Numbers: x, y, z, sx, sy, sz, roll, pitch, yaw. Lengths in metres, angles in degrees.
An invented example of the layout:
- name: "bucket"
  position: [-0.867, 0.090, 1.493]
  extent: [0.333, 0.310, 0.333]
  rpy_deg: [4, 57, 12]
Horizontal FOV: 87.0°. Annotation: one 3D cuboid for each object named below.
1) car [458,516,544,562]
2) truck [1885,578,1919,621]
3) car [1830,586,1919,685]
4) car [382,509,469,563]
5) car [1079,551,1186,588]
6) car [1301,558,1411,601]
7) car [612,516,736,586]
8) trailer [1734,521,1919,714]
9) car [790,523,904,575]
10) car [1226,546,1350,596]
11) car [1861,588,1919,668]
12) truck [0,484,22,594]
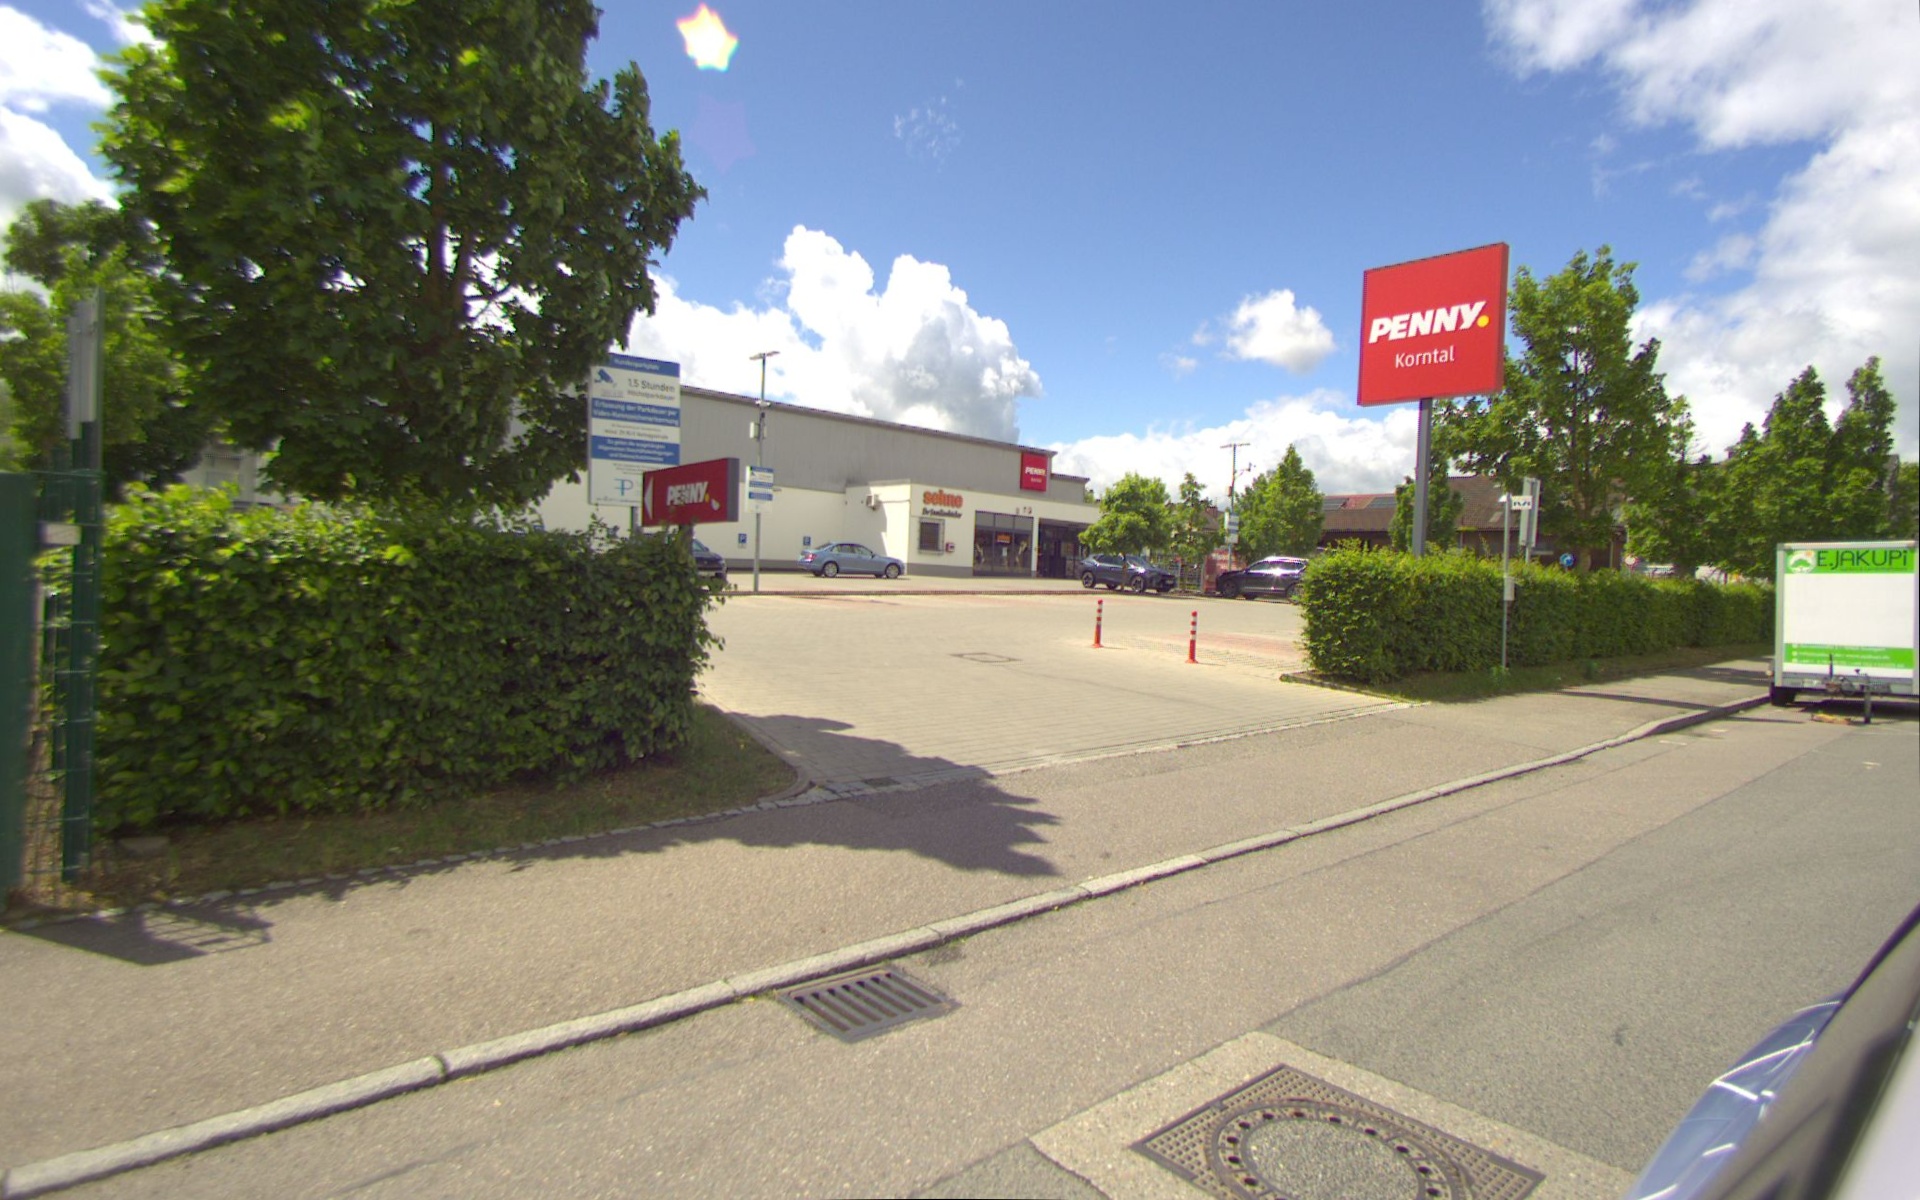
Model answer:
- name: "car"
  position: [-16.621, -2.178, 36.544]
  extent: [1.787, 1.526, 3.995]
  rpy_deg: [1, 2, -41]
- name: "truck"
  position: [51.639, 0.029, 54.671]
  extent: [5.292, 2.107, 1.833]
  rpy_deg: [2, 3, -42]
- name: "car"
  position: [17.171, 0.608, 18.107]
  extent: [4.370, 1.591, 1.944]
  rpy_deg: [1, 2, -43]
- name: "car"
  position: [-18.198, -2.145, 34.379]
  extent: [1.787, 1.643, 3.995]
  rpy_deg: [1, 2, -41]
- name: "car"
  position: [6.988, -1.203, 41.365]
  extent: [1.965, 1.371, 3.993]
  rpy_deg: [1, -1, -41]
- name: "car"
  position: [17.044, -0.846, 43.672]
  extent: [1.966, 1.728, 3.991]
  rpy_deg: [1, -1, -42]
- name: "car"
  position: [-8.023, -1.301, 28.158]
  extent: [1.963, 1.705, 3.996]
  rpy_deg: [1, -1, -38]
- name: "trailer"
  position: [12.612, 0.178, 14.225]
  extent: [4.370, 2.322, 1.945]
  rpy_deg: [0, 2, -42]
- name: "car"
  position: [-4.645, -2.045, 41.646]
  extent: [4.215, 1.928, 2.003]
  rpy_deg: [1, -1, -26]
- name: "car"
  position: [12.219, -1.045, 37.870]
  extent: [1.966, 1.728, 3.991]
  rpy_deg: [1, -1, -42]
- name: "car"
  position: [21.153, 0.601, 21.771]
  extent: [4.365, 1.591, 1.946]
  rpy_deg: [1, 2, -39]
- name: "truck"
  position: [-27.575, -1.677, 27.006]
  extent: [2.925, 2.901, 12.005]
  rpy_deg: [1, -1, -39]
